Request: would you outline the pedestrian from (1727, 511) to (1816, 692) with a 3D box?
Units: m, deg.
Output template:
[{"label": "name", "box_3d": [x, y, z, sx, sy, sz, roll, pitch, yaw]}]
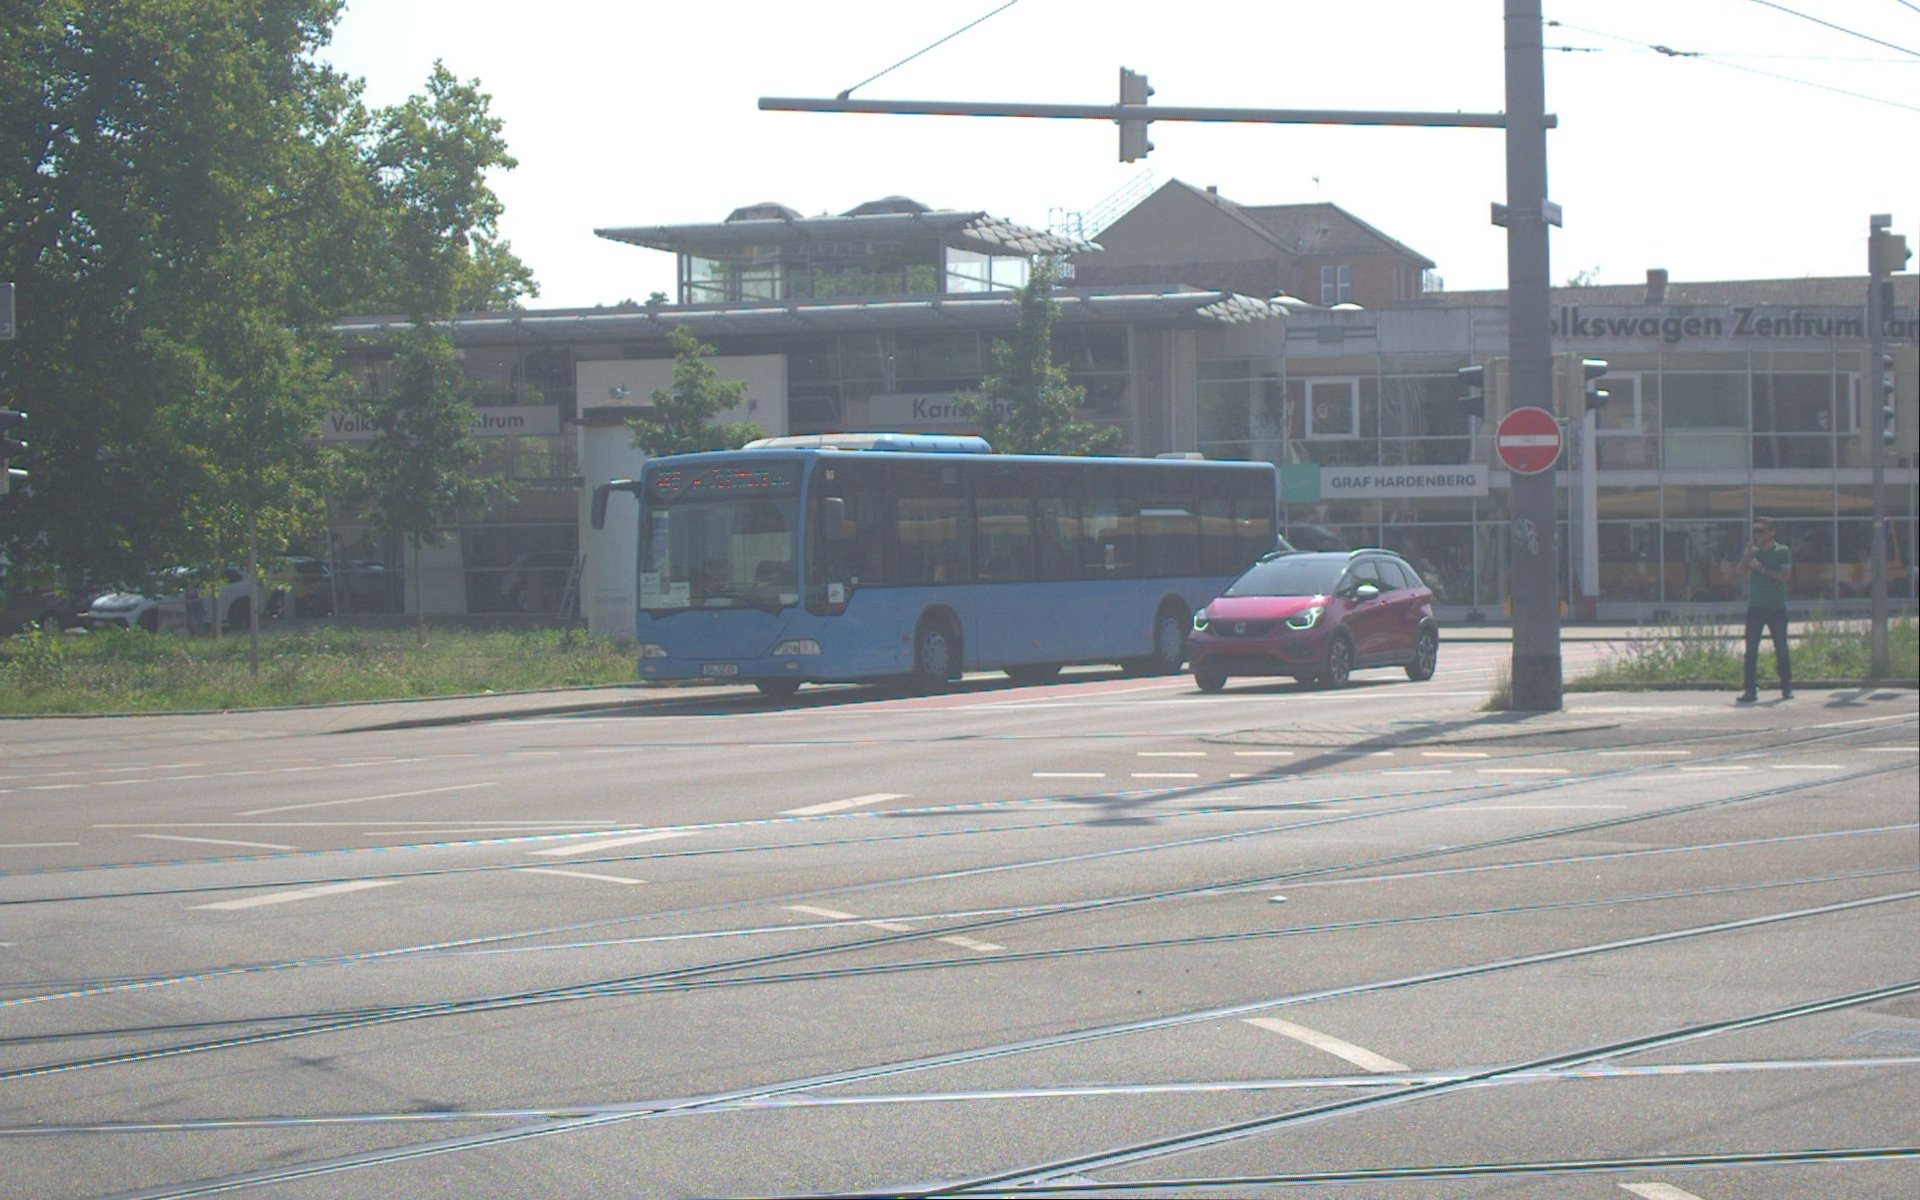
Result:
[{"label": "pedestrian", "box_3d": [7.692, 0.026, 32.592, 0.802, 1.682, 0.718, 0, -2, 13]}]

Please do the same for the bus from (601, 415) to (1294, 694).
[{"label": "bus", "box_3d": [0.281, -0.609, 43.589, 2.730, 3.054, 12.060, 0, 1, 32]}]

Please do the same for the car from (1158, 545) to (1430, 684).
[{"label": "car", "box_3d": [3.837, 0.125, 39.018, 1.627, 1.467, 3.765, 0, 1, 31]}]

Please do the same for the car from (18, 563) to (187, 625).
[{"label": "car", "box_3d": [-21.945, -0.180, 88.088, 1.997, 1.503, 3.994, 0, 1, 29]}]

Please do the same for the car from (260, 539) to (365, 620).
[{"label": "car", "box_3d": [-16.976, -0.573, 90.376, 2.325, 2.007, 6.811, 1, 1, -8]}]

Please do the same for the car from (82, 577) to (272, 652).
[{"label": "car", "box_3d": [-19.314, 0.342, 84.884, 4.248, 1.747, 1.715, -2, 1, -42]}]
